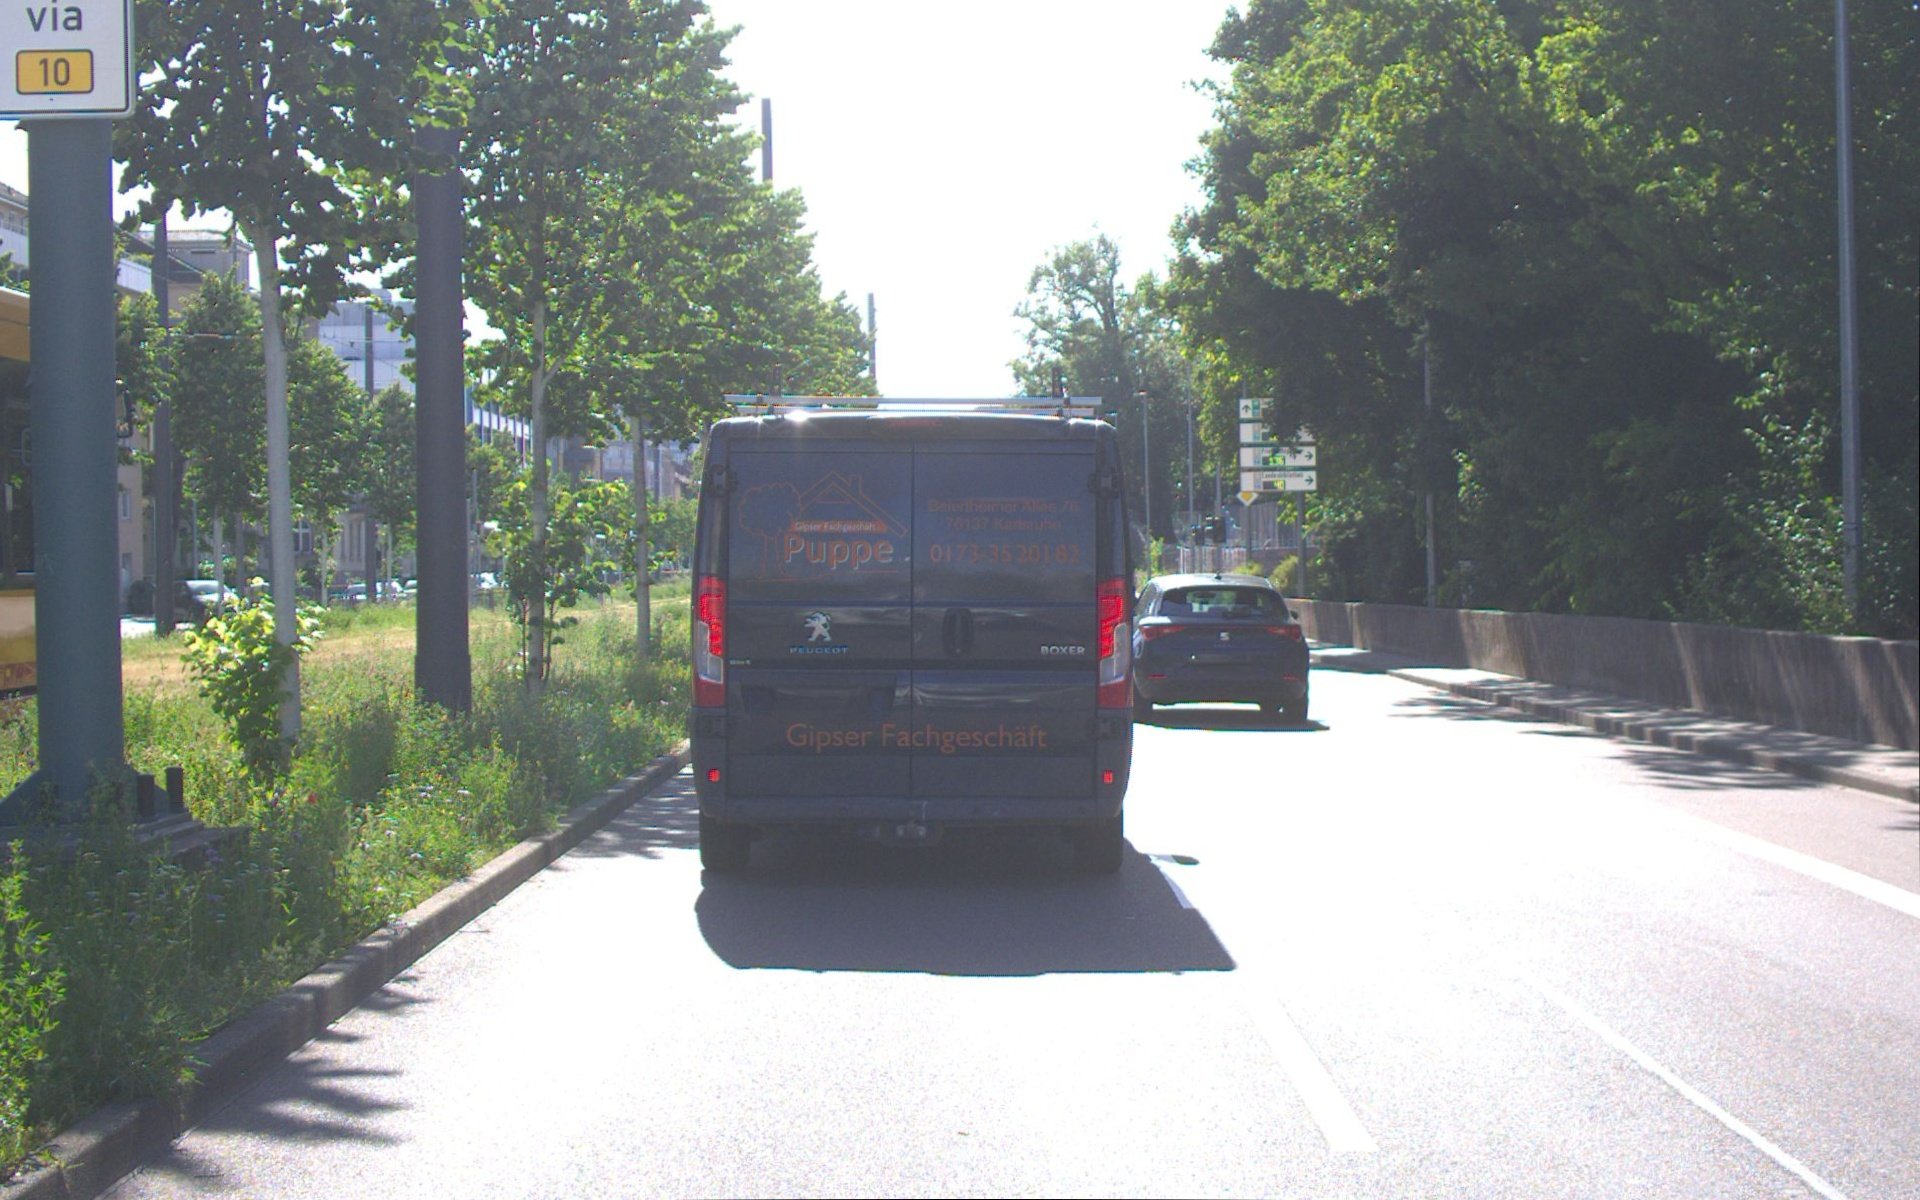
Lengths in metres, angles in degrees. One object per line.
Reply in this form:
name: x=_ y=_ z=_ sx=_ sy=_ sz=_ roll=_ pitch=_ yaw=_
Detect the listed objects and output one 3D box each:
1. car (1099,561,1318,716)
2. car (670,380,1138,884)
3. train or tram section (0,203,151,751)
car: x=2.435 y=0.345 z=34.565 sx=1.763 sy=1.457 sz=4.000 roll=0 pitch=0 yaw=-2
car: x=-0.277 y=0.127 z=17.381 sx=2.082 sy=2.241 sz=4.000 roll=0 pitch=0 yaw=-1
train or tram section: x=-7.418 y=-0.810 z=21.307 sx=1.993 sy=3.657 sz=11.684 roll=0 pitch=1 yaw=0
